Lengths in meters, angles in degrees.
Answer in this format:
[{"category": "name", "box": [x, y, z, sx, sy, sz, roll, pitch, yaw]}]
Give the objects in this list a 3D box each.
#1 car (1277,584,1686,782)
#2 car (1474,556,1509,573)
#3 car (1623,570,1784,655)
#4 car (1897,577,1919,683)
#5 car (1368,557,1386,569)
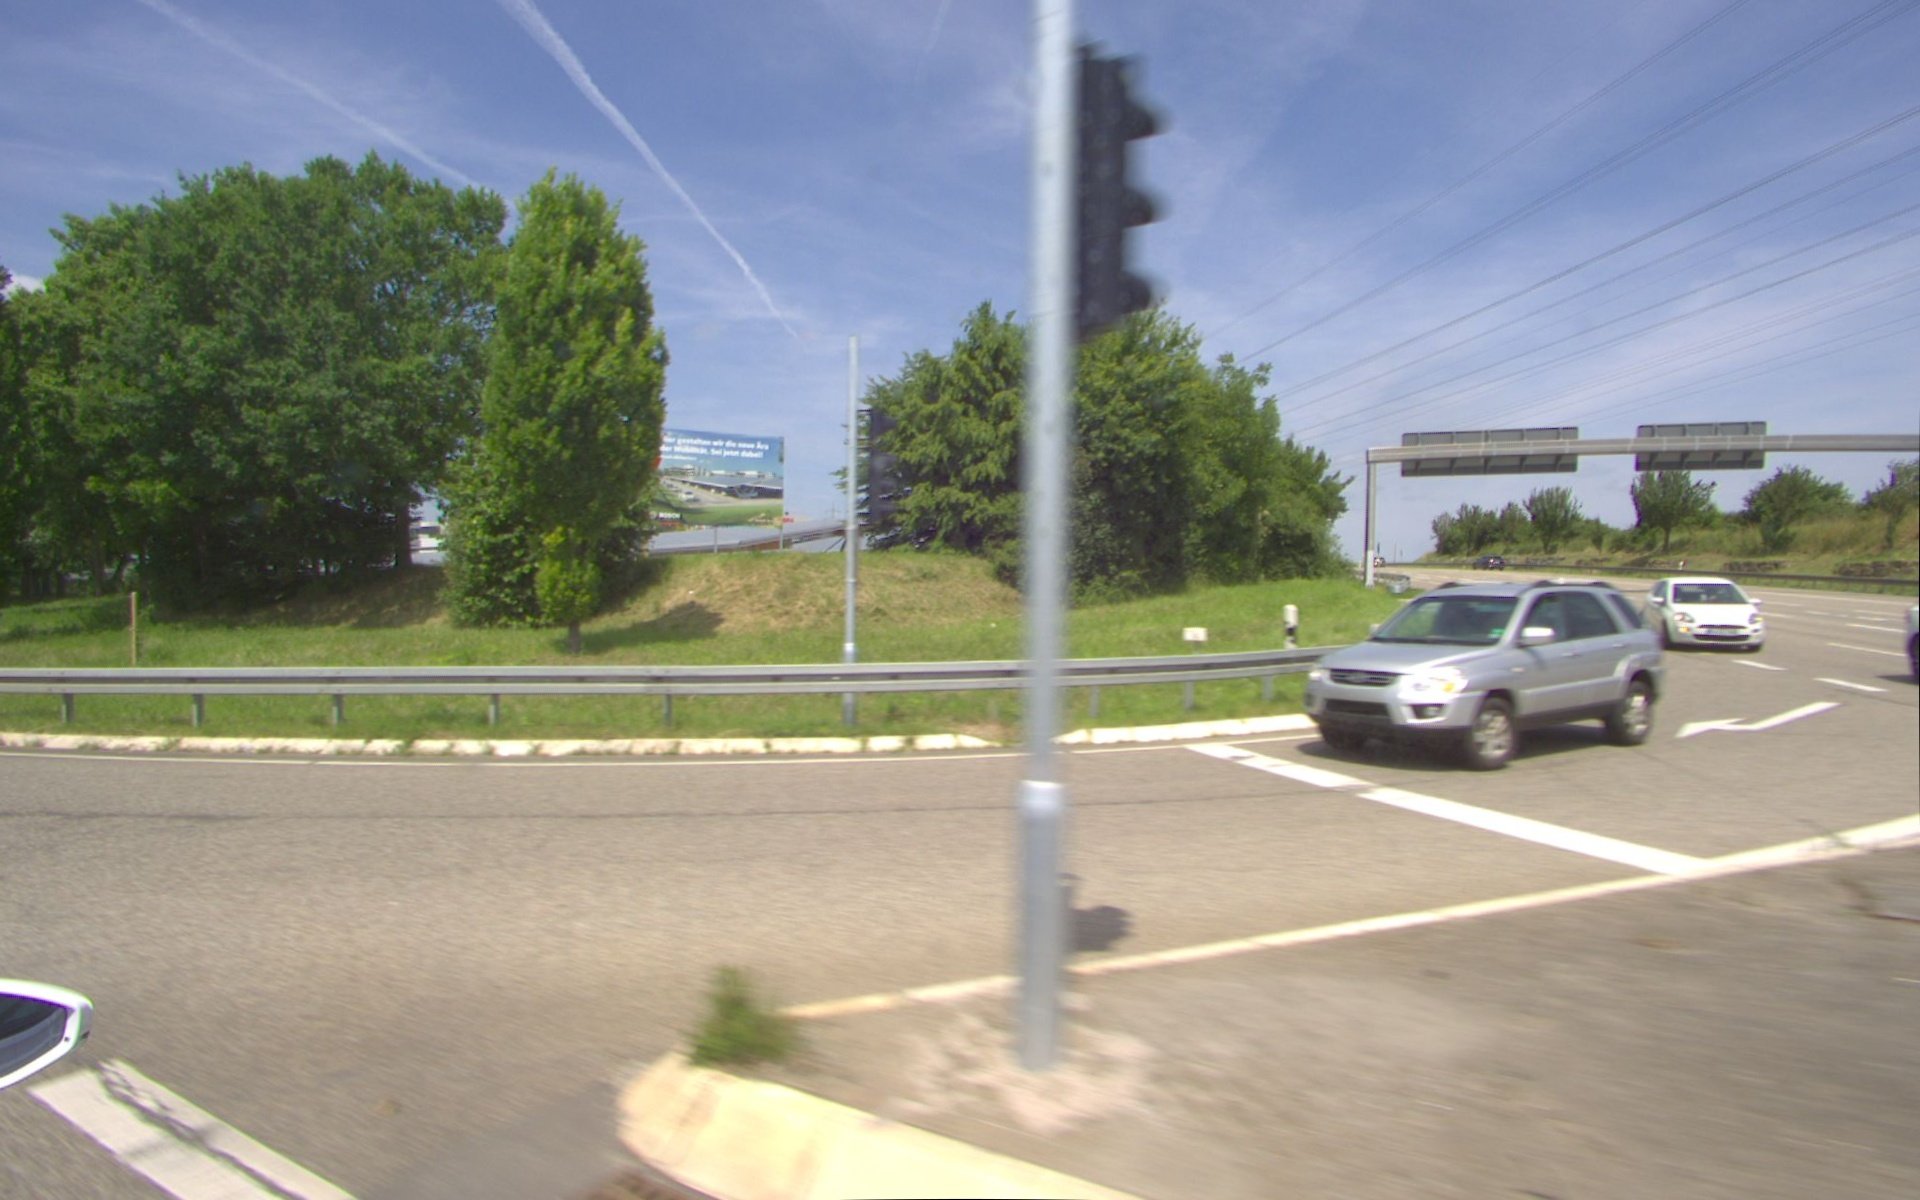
[{"category": "car", "box": [5.516, 0.698, 10.455, 4.310, 1.677, 1.826, -1, 0, -31]}, {"category": "car", "box": [51.644, -3.457, 97.372, 1.718, 1.554, 4.292, 3, 3, 12]}, {"category": "car", "box": [16.234, 0.204, 22.104, 1.750, 1.622, 3.989, 0, 3, 20]}, {"category": "car", "box": [15.067, 0.510, 13.488, 1.748, 1.614, 4.364, 0, 2, 16]}, {"category": "car", "box": [59.558, -5.328, 142.910, 1.719, 1.554, 4.289, 1, 4, 14]}]
